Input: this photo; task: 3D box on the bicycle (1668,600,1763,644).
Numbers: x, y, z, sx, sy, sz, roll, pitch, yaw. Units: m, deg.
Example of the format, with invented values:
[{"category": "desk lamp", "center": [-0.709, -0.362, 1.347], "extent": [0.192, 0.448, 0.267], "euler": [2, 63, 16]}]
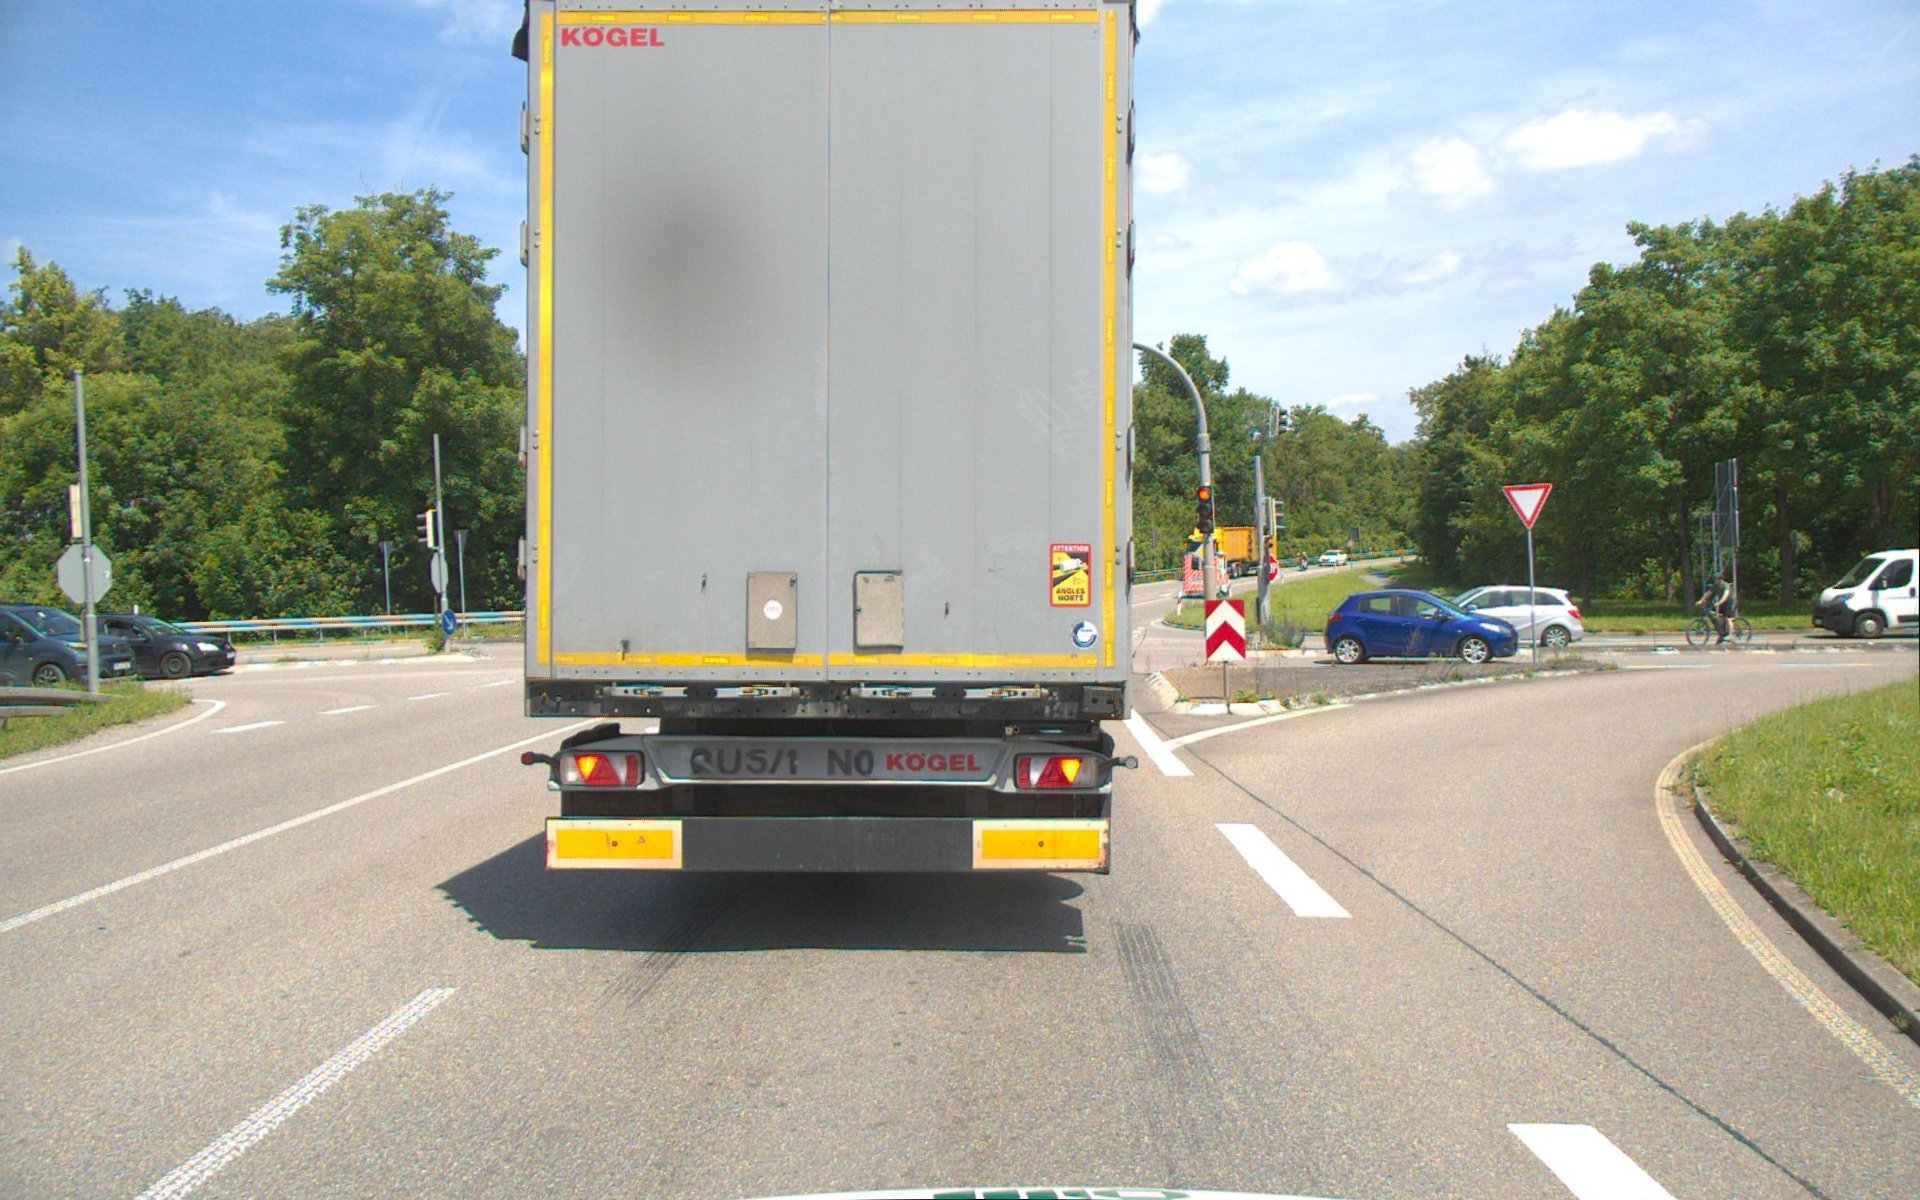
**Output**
[{"category": "bicycle", "center": [18.258, 0.536, 40.010], "extent": [1.949, 1.013, 0.796], "euler": [1, -2, -4]}]

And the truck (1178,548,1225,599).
[{"category": "truck", "center": [14.593, -1.533, 99.678], "extent": [2.440, 2.776, 6.035], "euler": [0, -2, 11]}]

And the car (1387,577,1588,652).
[{"category": "car", "center": [12.787, 0.367, 40.308], "extent": [4.334, 1.749, 2.001], "euler": [0, -2, 4]}]

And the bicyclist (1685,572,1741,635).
[{"category": "bicyclist", "center": [18.201, 0.095, 39.993], "extent": [0.985, 1.474, 0.795], "euler": [1, -2, -3]}]

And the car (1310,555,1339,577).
[{"category": "car", "center": [35.971, -3.373, 163.259], "extent": [1.954, 2.048, 3.998], "euler": [0, 2, 25]}]

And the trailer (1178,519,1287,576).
[{"category": "trailer", "center": [23.589, -4.399, 141.489], "extent": [4.908, 4.438, 20.839], "euler": [0, 1, 21]}]

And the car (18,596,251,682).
[{"category": "car", "center": [-17.993, 0.841, 36.148], "extent": [4.143, 1.801, 2.002], "euler": [-1, -1, 9]}]

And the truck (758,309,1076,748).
[{"category": "truck", "center": [-0.343, -0.682, 18.879], "extent": [2.975, 4.104, 6.630], "euler": [0, 0, 1]}]

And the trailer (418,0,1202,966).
[{"category": "trailer", "center": [-0.461, -0.673, 12.622], "extent": [2.988, 4.104, 12.560], "euler": [0, 0, 1]}]

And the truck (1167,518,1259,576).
[{"category": "truck", "center": [20.532, -4.191, 133.460], "extent": [4.908, 4.438, 11.766], "euler": [0, 1, 21]}]

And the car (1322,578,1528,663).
[{"category": "car", "center": [9.412, 0.429, 33.475], "extent": [3.769, 1.641, 1.879], "euler": [0, -2, 26]}]

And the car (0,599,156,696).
[{"category": "car", "center": [-18.097, 0.913, 32.013], "extent": [4.143, 1.801, 2.002], "euler": [-1, -1, 9]}]

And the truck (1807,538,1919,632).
[{"category": "truck", "center": [24.734, -0.362, 42.376], "extent": [5.035, 2.336, 2.001], "euler": [0, -2, 13]}]
